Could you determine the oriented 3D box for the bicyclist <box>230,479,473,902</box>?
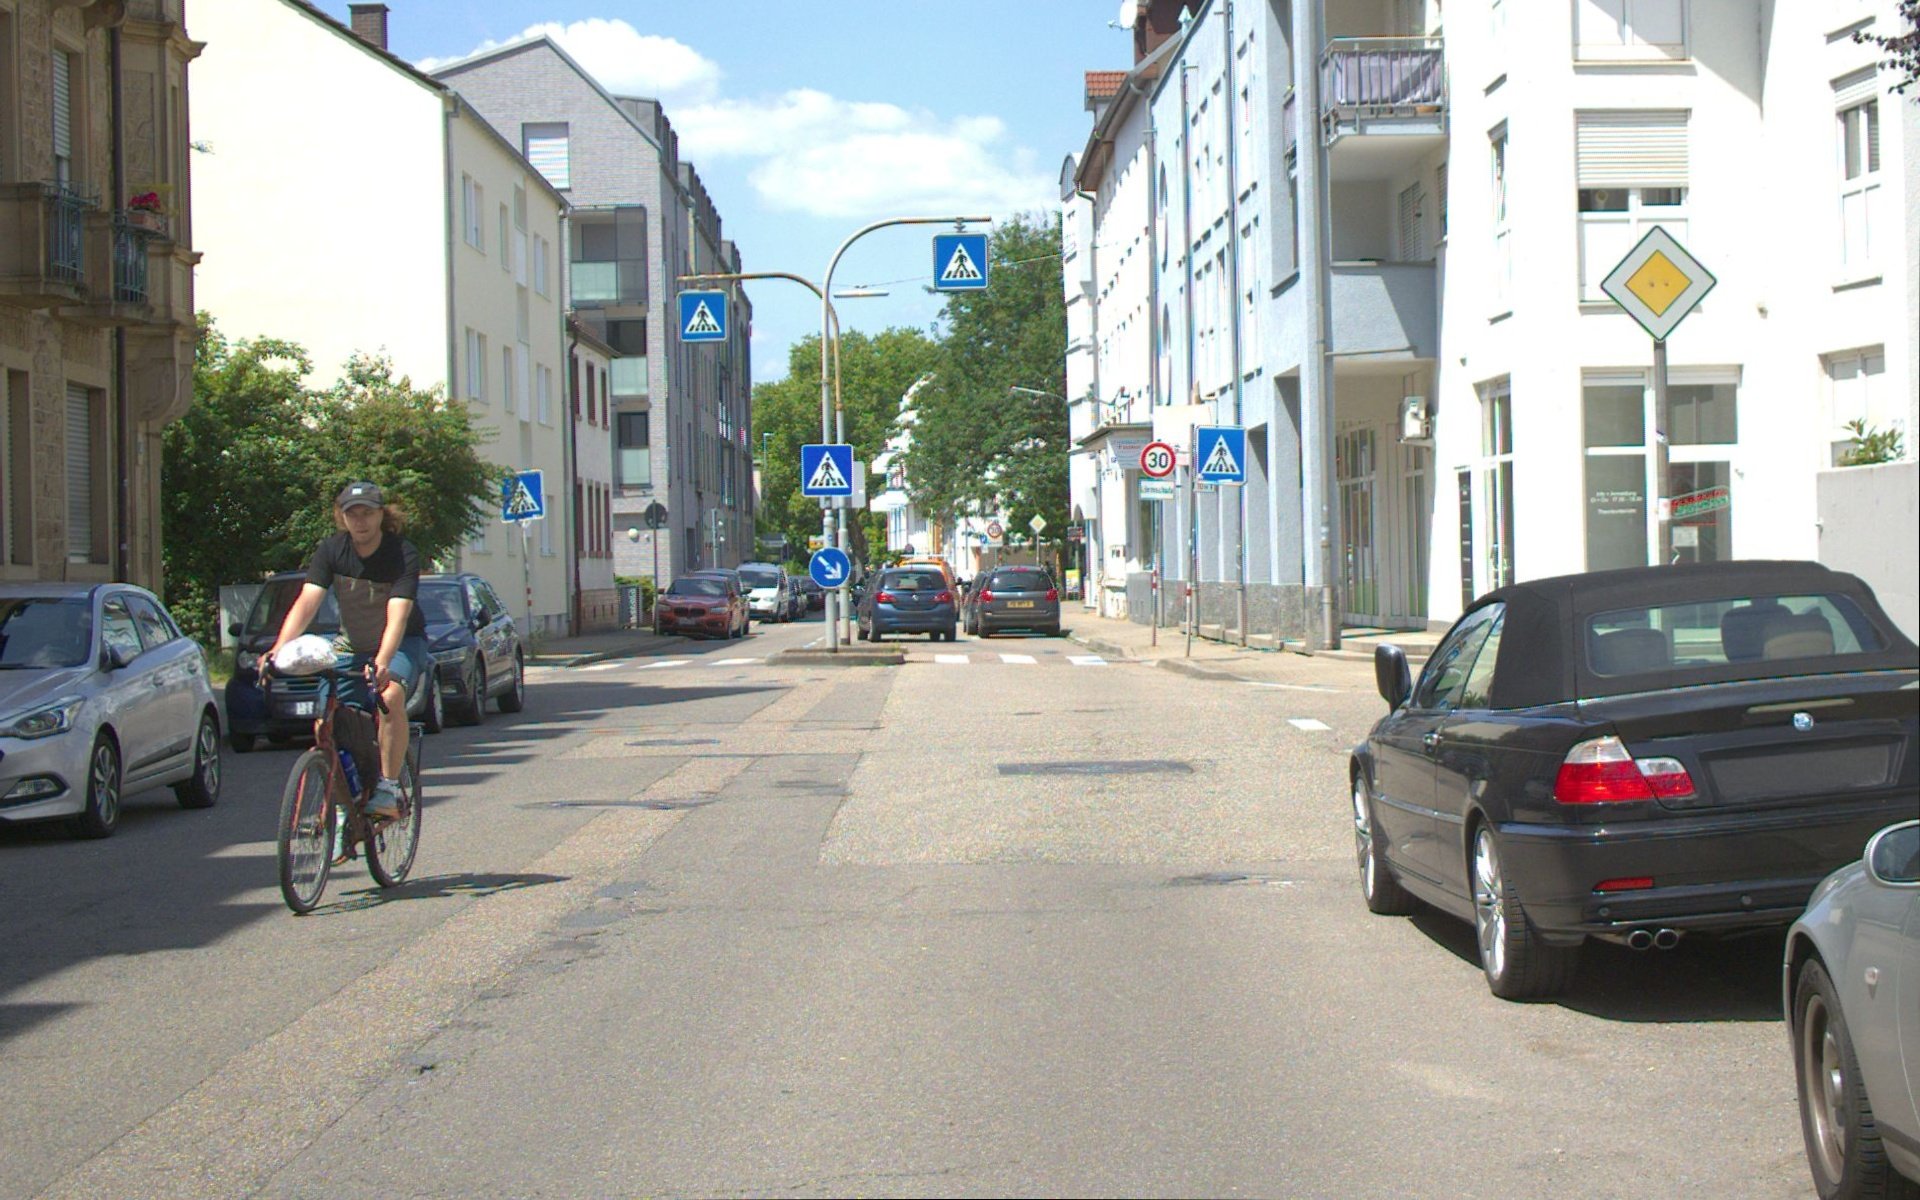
[{"bbox_3d":[-2.650,0.376,15.079,0.641,1.756,1.167,-3,0,8],"label":"bicyclist"}]

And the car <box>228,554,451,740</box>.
[{"bbox_3d":[-5.380,0.383,30.029,1.436,1.517,2.696,-2,0,0],"label":"car"}]

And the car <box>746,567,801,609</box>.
[{"bbox_3d":[-6.530,-0.432,120.682,1.723,1.451,4.005,0,0,0],"label":"car"}]

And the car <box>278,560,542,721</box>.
[{"bbox_3d":[-5.411,0.359,34.374,1.783,1.453,4.634,-2,0,1],"label":"car"}]

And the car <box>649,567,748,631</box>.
[{"bbox_3d":[-6.039,-0.037,79.779,1.834,1.412,4.289,-1,0,2],"label":"car"}]

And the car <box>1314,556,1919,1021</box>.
[{"bbox_3d":[2.416,0.544,12.570,1.656,1.371,4.239,-1,1,-2],"label":"car"}]

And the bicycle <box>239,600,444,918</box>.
[{"bbox_3d":[-2.699,0.658,15.148,0.228,1.271,1.882,-4,0,8],"label":"bicycle"}]

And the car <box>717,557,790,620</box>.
[{"bbox_3d":[-6.445,-0.382,107.503,1.757,1.885,4.336,1,1,3],"label":"car"}]

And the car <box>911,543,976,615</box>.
[{"bbox_3d":[-0.496,-0.636,100.622,1.839,2.007,4.000,-1,1,0],"label":"car"}]

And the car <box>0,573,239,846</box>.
[{"bbox_3d":[-5.603,0.601,20.492,1.634,1.426,4.018,-3,1,1],"label":"car"}]

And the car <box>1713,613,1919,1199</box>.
[{"bbox_3d":[2.599,0.711,6.177,1.585,1.349,3.822,-3,1,0],"label":"car"}]

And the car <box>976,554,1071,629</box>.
[{"bbox_3d":[1.303,-0.189,72.291,1.709,1.503,4.000,-1,0,-3],"label":"car"}]

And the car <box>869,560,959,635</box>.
[{"bbox_3d":[-0.912,-0.071,68.388,1.715,1.397,4.000,-1,1,-1],"label":"car"}]
